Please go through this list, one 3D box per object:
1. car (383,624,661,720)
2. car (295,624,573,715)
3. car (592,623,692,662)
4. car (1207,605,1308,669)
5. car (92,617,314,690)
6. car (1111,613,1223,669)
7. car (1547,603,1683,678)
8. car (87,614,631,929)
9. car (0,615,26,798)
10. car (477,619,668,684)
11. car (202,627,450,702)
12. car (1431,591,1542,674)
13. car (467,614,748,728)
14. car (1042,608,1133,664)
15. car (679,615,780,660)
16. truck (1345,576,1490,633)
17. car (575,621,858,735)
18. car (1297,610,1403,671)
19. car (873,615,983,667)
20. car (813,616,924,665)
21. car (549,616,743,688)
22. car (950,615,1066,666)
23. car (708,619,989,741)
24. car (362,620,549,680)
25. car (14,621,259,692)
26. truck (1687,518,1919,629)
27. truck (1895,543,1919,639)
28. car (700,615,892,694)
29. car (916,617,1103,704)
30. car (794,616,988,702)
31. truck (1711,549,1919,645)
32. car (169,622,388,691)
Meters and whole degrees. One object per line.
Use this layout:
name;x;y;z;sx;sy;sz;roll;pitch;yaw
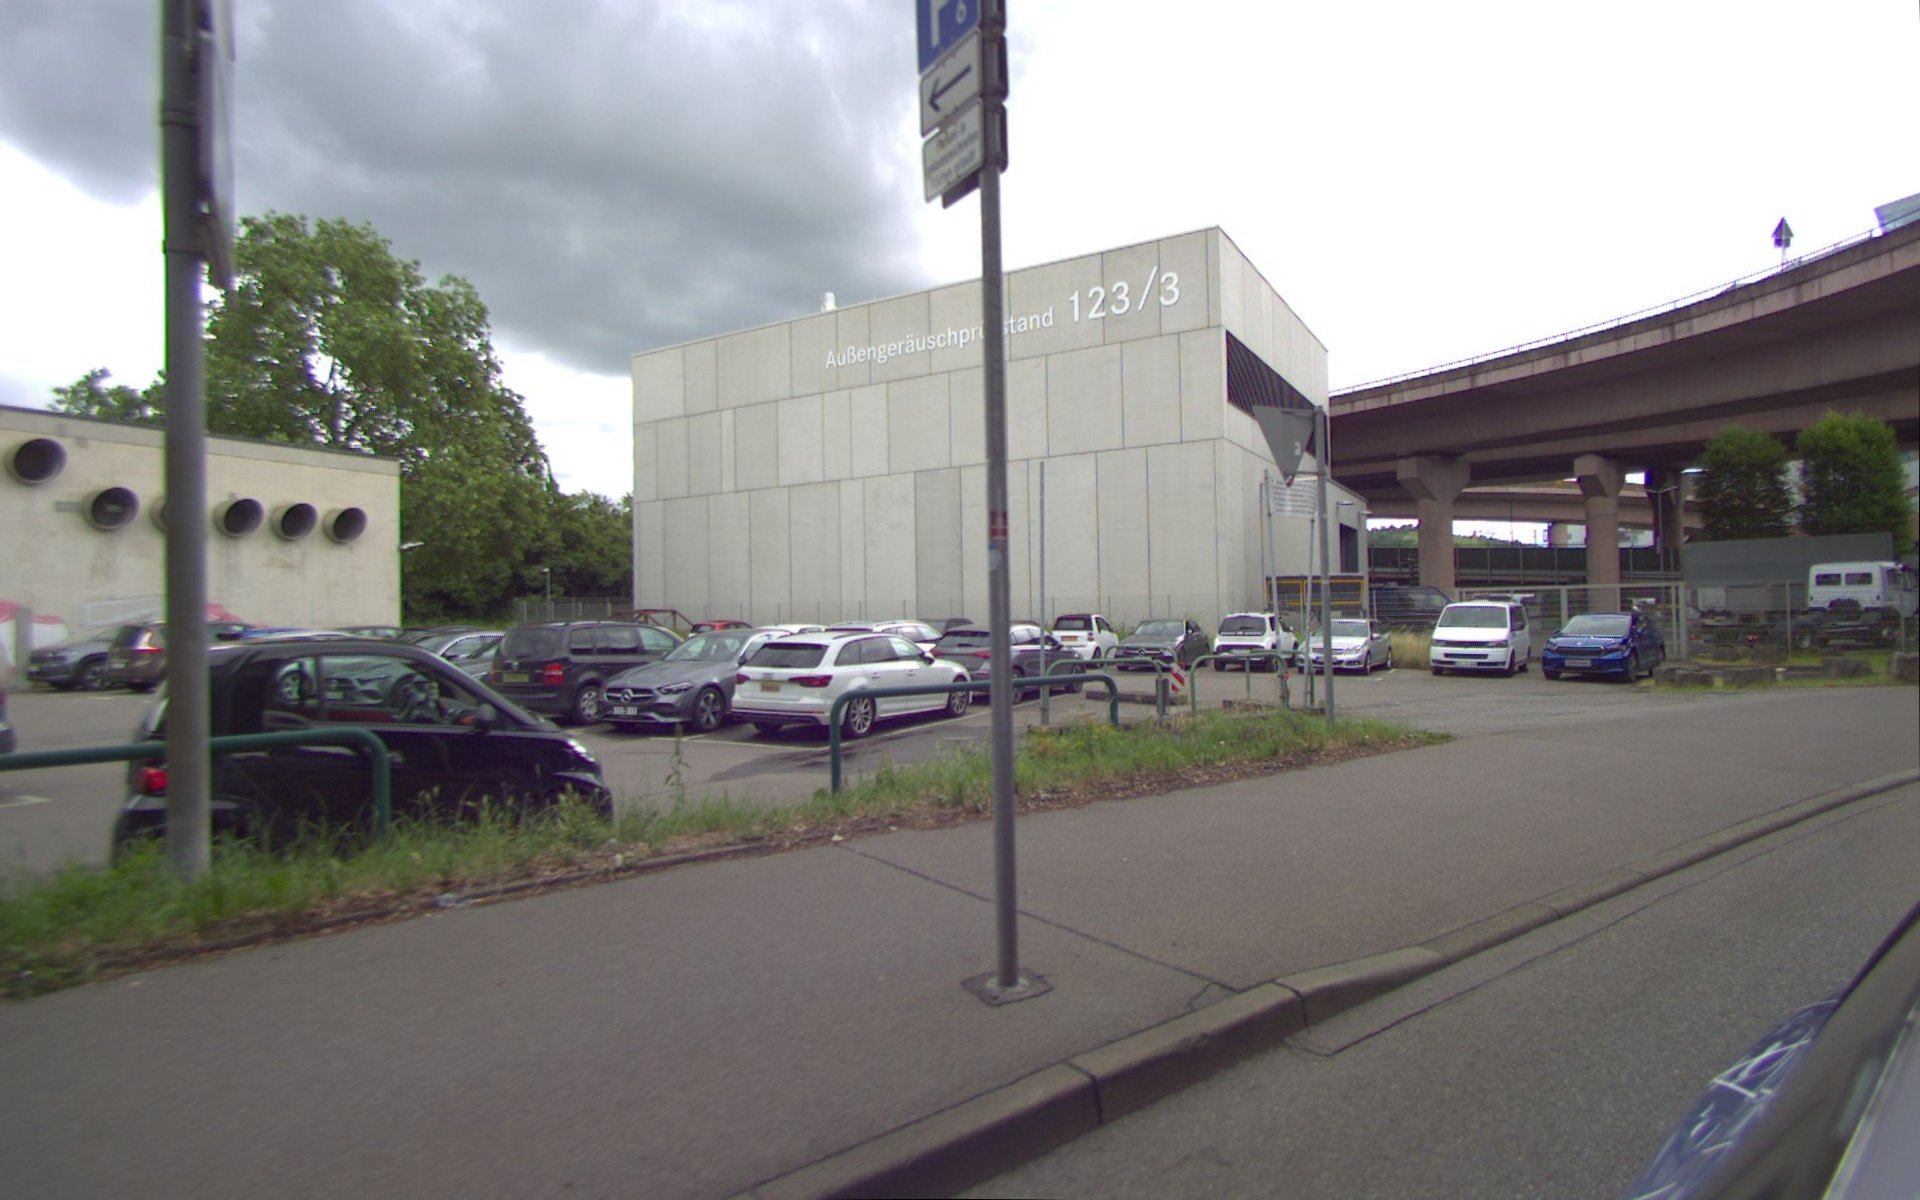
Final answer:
car;-7.847;1.208;18.626;1.841;1.462;4.574;-1;-1;28
car;-10.016;1.251;19.680;1.841;1.462;4.574;-1;-1;28
car;-12.517;1.641;40.049;1.482;1.355;4.011;-1;0;25
car;8.406;0.970;28.338;1.760;1.608;4.315;-1;0;30
car;-18.020;1.219;24.285;1.753;1.552;3.936;-1;-1;28
car;5.909;1.083;28.523;1.761;1.401;4.312;-1;0;31
car;16.200;0.922;24.934;4.607;1.655;1.771;0;-1;-43
car;-3.701;0.865;6.427;2.711;1.498;1.543;0;-1;-38
car;-10.625;1.004;8.037;1.729;1.696;4.426;-1;-1;28
car;-9.718;1.231;25.734;1.824;1.443;4.393;-1;-1;30
car;-13.860;1.339;22.431;1.769;1.410;4.391;-1;-1;28
car;13.993;0.783;26.778;1.883;1.982;4.618;-1;0;37
car;-5.875;1.093;17.484;1.841;1.648;4.574;-1;-1;28
car;3.888;1.044;30.536;1.610;1.564;3.063;-1;0;31
car;-8.424;1.334;37.253;1.482;1.478;4.029;-1;0;25
truck;25.210;0.303;55.860;6.882;2.970;3.013;-1;-1;34
car;-3.713;1.117;16.331;1.841;1.494;4.640;-1;-1;28
car;10.615;1.031;27.378;1.763;1.475;4.500;-1;0;33
car;-0.932;1.238;32.234;1.757;1.475;4.323;-1;0;25
car;-2.978;1.300;33.892;1.757;1.475;4.323;-1;0;25
car;-7.476;1.188;24.538;1.824;1.533;4.452;-1;-1;30
car;1.572;1.192;31.422;1.761;1.401;4.312;-1;0;31
car;-1.474;1.064;15.299;1.843;1.494;4.636;-1;-1;30
car;-13.827;1.324;28.010;1.824;1.443;4.393;-1;-1;30
car;-20.354;1.327;25.238;1.753;1.552;4.444;-1;-1;28
truck;37.501;-1.012;43.193;10.052;4.422;3.870;-1;-1;31
truck;31.225;-0.307;29.535;7.083;2.779;2.429;-1;-1;-16
car;-3.505;1.119;22.508;1.824;1.533;4.452;-1;-1;30
car;1.093;1.087;19.791;1.824;1.443;4.393;-1;-1;30
car;-1.297;1.135;20.994;1.824;1.533;4.452;-1;-1;30
truck;27.896;-0.096;32.606;5.992;2.923;2.463;-1;-1;-11
car;-15.890;1.268;23.809;1.753;1.410;3.936;-1;-1;28
